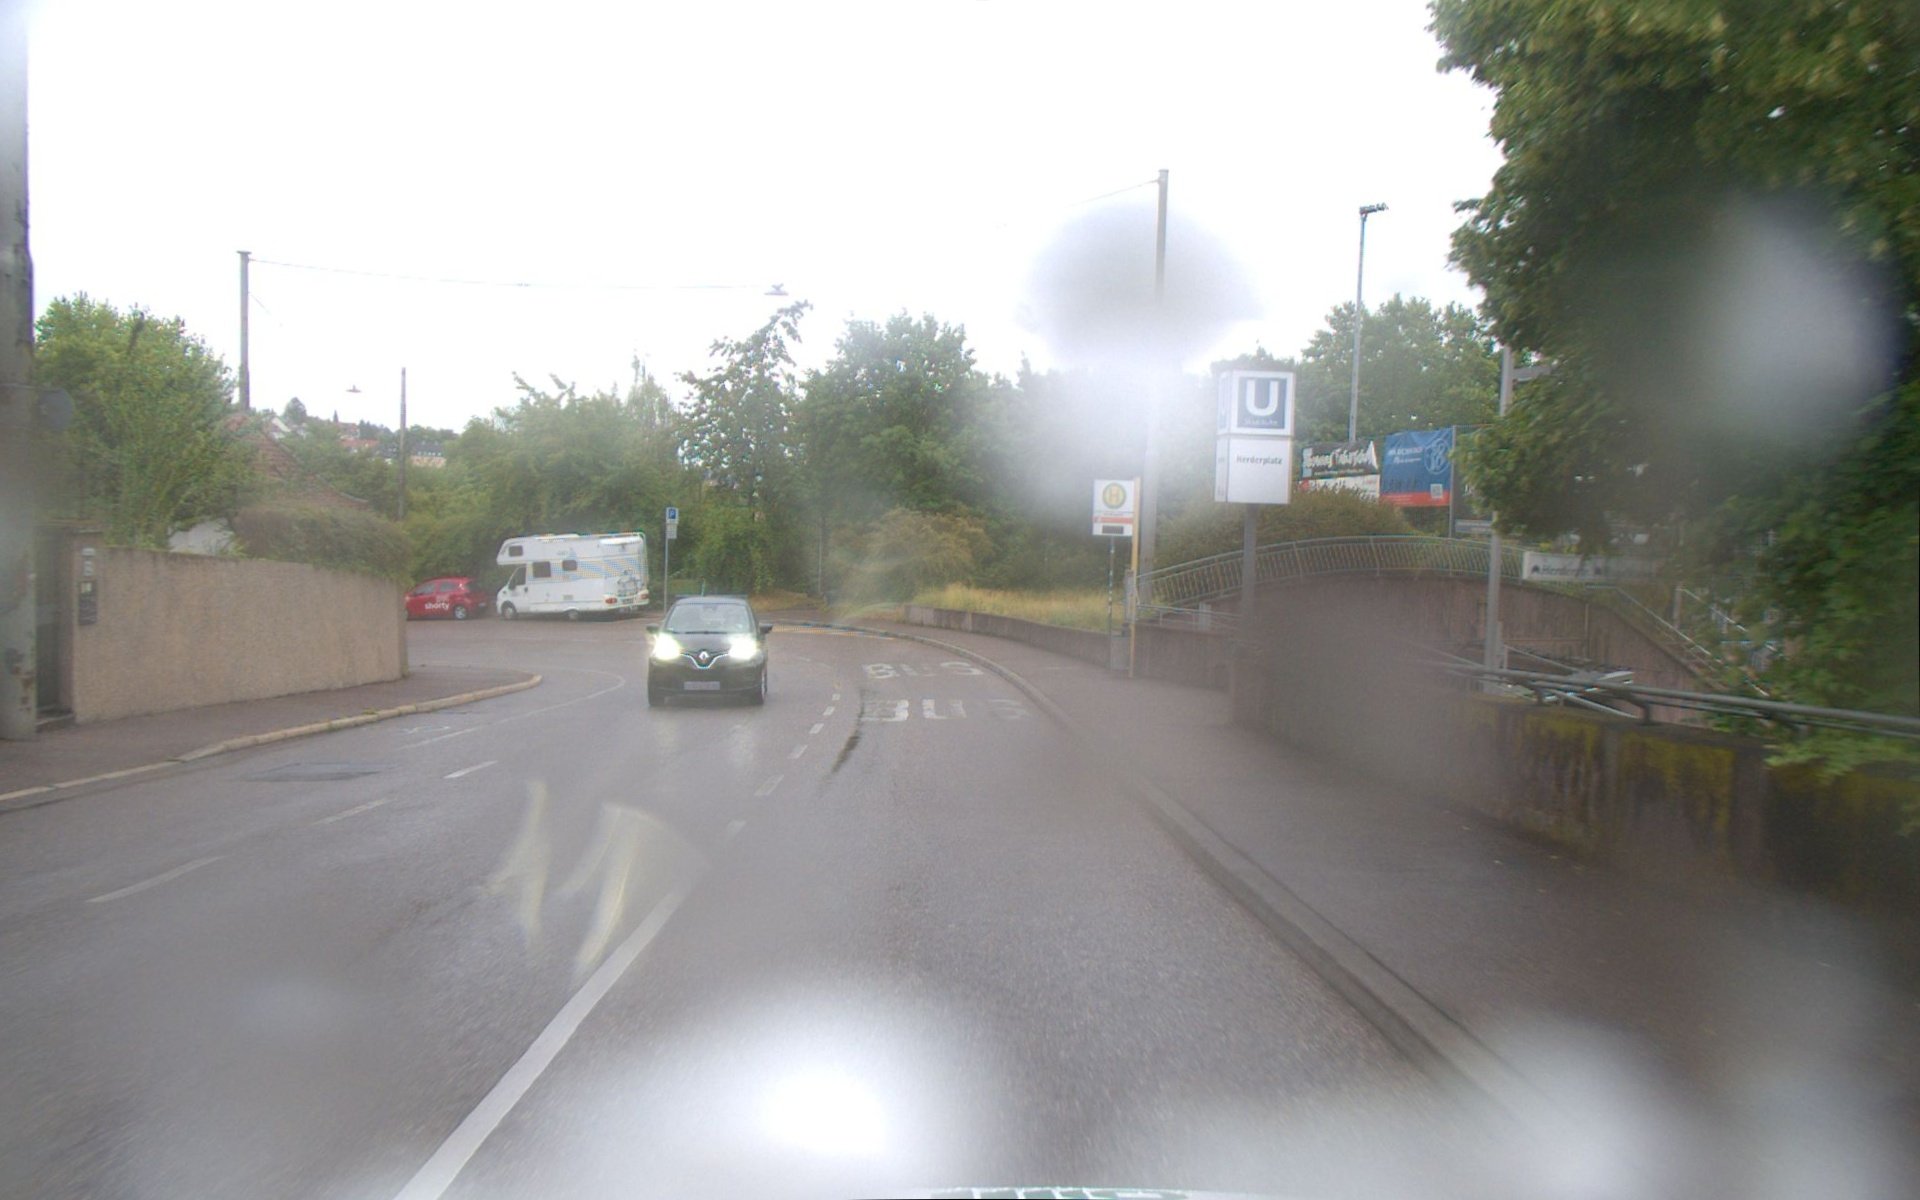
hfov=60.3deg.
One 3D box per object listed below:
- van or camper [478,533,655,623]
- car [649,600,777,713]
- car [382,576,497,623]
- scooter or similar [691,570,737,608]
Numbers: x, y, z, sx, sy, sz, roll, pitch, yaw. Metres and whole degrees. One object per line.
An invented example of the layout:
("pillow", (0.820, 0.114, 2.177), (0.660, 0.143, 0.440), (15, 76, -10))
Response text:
("van or camper", (-14.291, -0.816, 60.020), (6.144, 2.994, 2.394), (0, 5, 30))
("car", (-3.697, 0.795, 25.301), (1.733, 1.547, 3.971), (0, 1, -6))
("car", (-19.601, -0.030, 62.315), (3.713, 1.485, 1.649), (-2, 5, 10))
("scooter or similar", (-8.900, -0.395, 59.806), (1.672, 1.304, 0.451), (-1, 2, 31))
